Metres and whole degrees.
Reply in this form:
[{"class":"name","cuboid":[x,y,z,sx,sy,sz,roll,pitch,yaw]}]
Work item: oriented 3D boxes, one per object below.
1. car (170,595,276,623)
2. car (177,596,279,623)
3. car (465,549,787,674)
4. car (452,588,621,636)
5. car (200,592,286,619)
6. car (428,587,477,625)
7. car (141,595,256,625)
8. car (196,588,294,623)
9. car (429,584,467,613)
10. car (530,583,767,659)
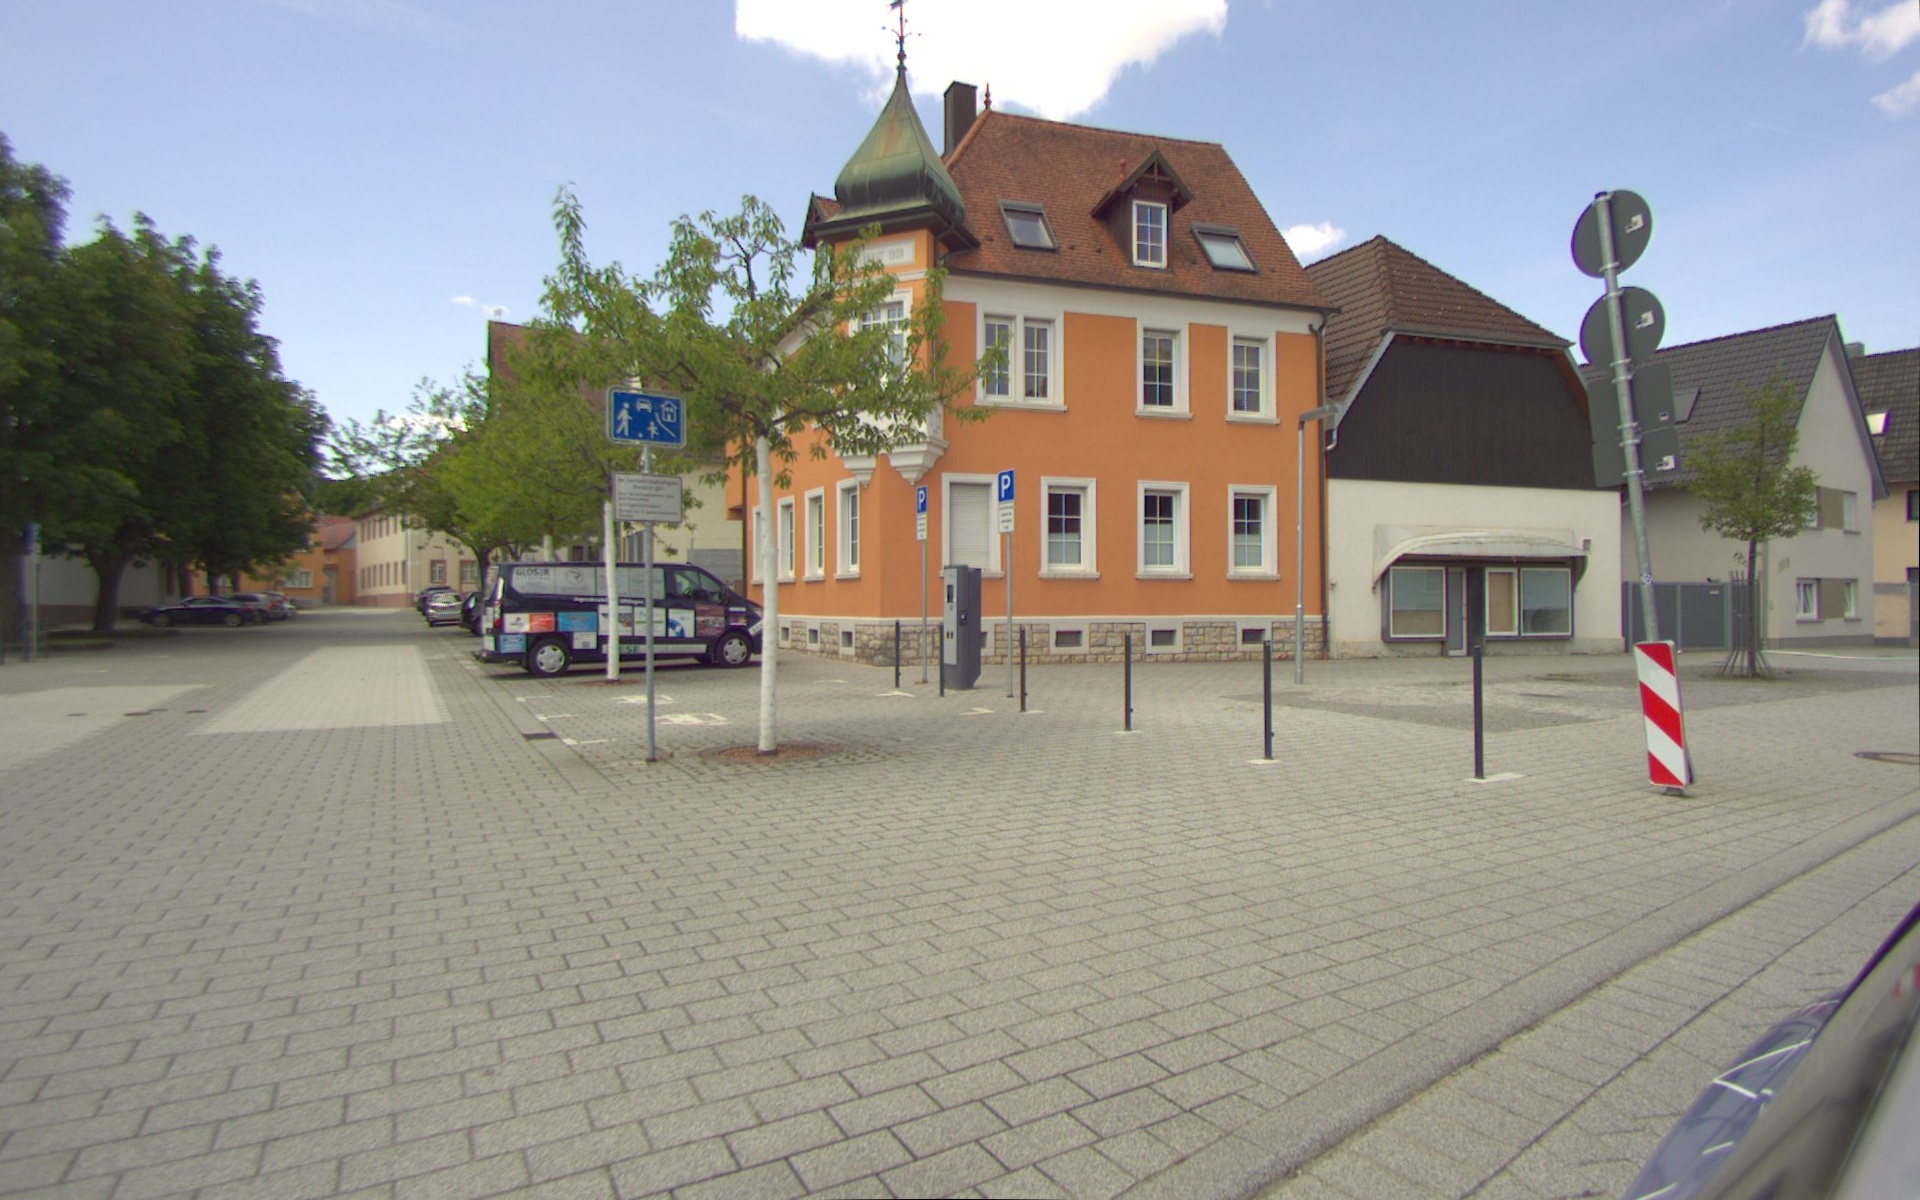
[{"class":"car","cuboid":[-33.576,0.392,46.239,3.777,1.245,1.731,0,-1,-31]},{"class":"car","cuboid":[-34.661,0.458,48.044,3.777,1.245,1.731,0,-1,-31]},{"class":"car","cuboid":[-6.109,0.194,18.743,5.385,2.039,2.002,0,-1,-30]},{"class":"car","cuboid":[-15.136,0.415,36.252,5.385,1.592,2.002,0,-1,-30]},{"class":"car","cuboid":[-41.476,0.316,58.623,3.921,1.523,2.001,0,0,-32]},{"class":"car","cuboid":[-24.210,0.275,48.385,1.959,1.693,5.503,0,0,-25]},{"class":"car","cuboid":[-32.771,0.413,43.698,3.777,1.245,1.731,0,-1,-31]},{"class":"car","cuboid":[-36.292,0.263,51.495,3.921,1.679,2.001,0,0,-32]},{"class":"car","cuboid":[-31.325,-0.098,62.017,1.959,1.693,5.503,0,0,-25]},{"class":"car","cuboid":[-6.640,0.419,21.737,4.628,1.503,1.626,0,-1,-30]}]
